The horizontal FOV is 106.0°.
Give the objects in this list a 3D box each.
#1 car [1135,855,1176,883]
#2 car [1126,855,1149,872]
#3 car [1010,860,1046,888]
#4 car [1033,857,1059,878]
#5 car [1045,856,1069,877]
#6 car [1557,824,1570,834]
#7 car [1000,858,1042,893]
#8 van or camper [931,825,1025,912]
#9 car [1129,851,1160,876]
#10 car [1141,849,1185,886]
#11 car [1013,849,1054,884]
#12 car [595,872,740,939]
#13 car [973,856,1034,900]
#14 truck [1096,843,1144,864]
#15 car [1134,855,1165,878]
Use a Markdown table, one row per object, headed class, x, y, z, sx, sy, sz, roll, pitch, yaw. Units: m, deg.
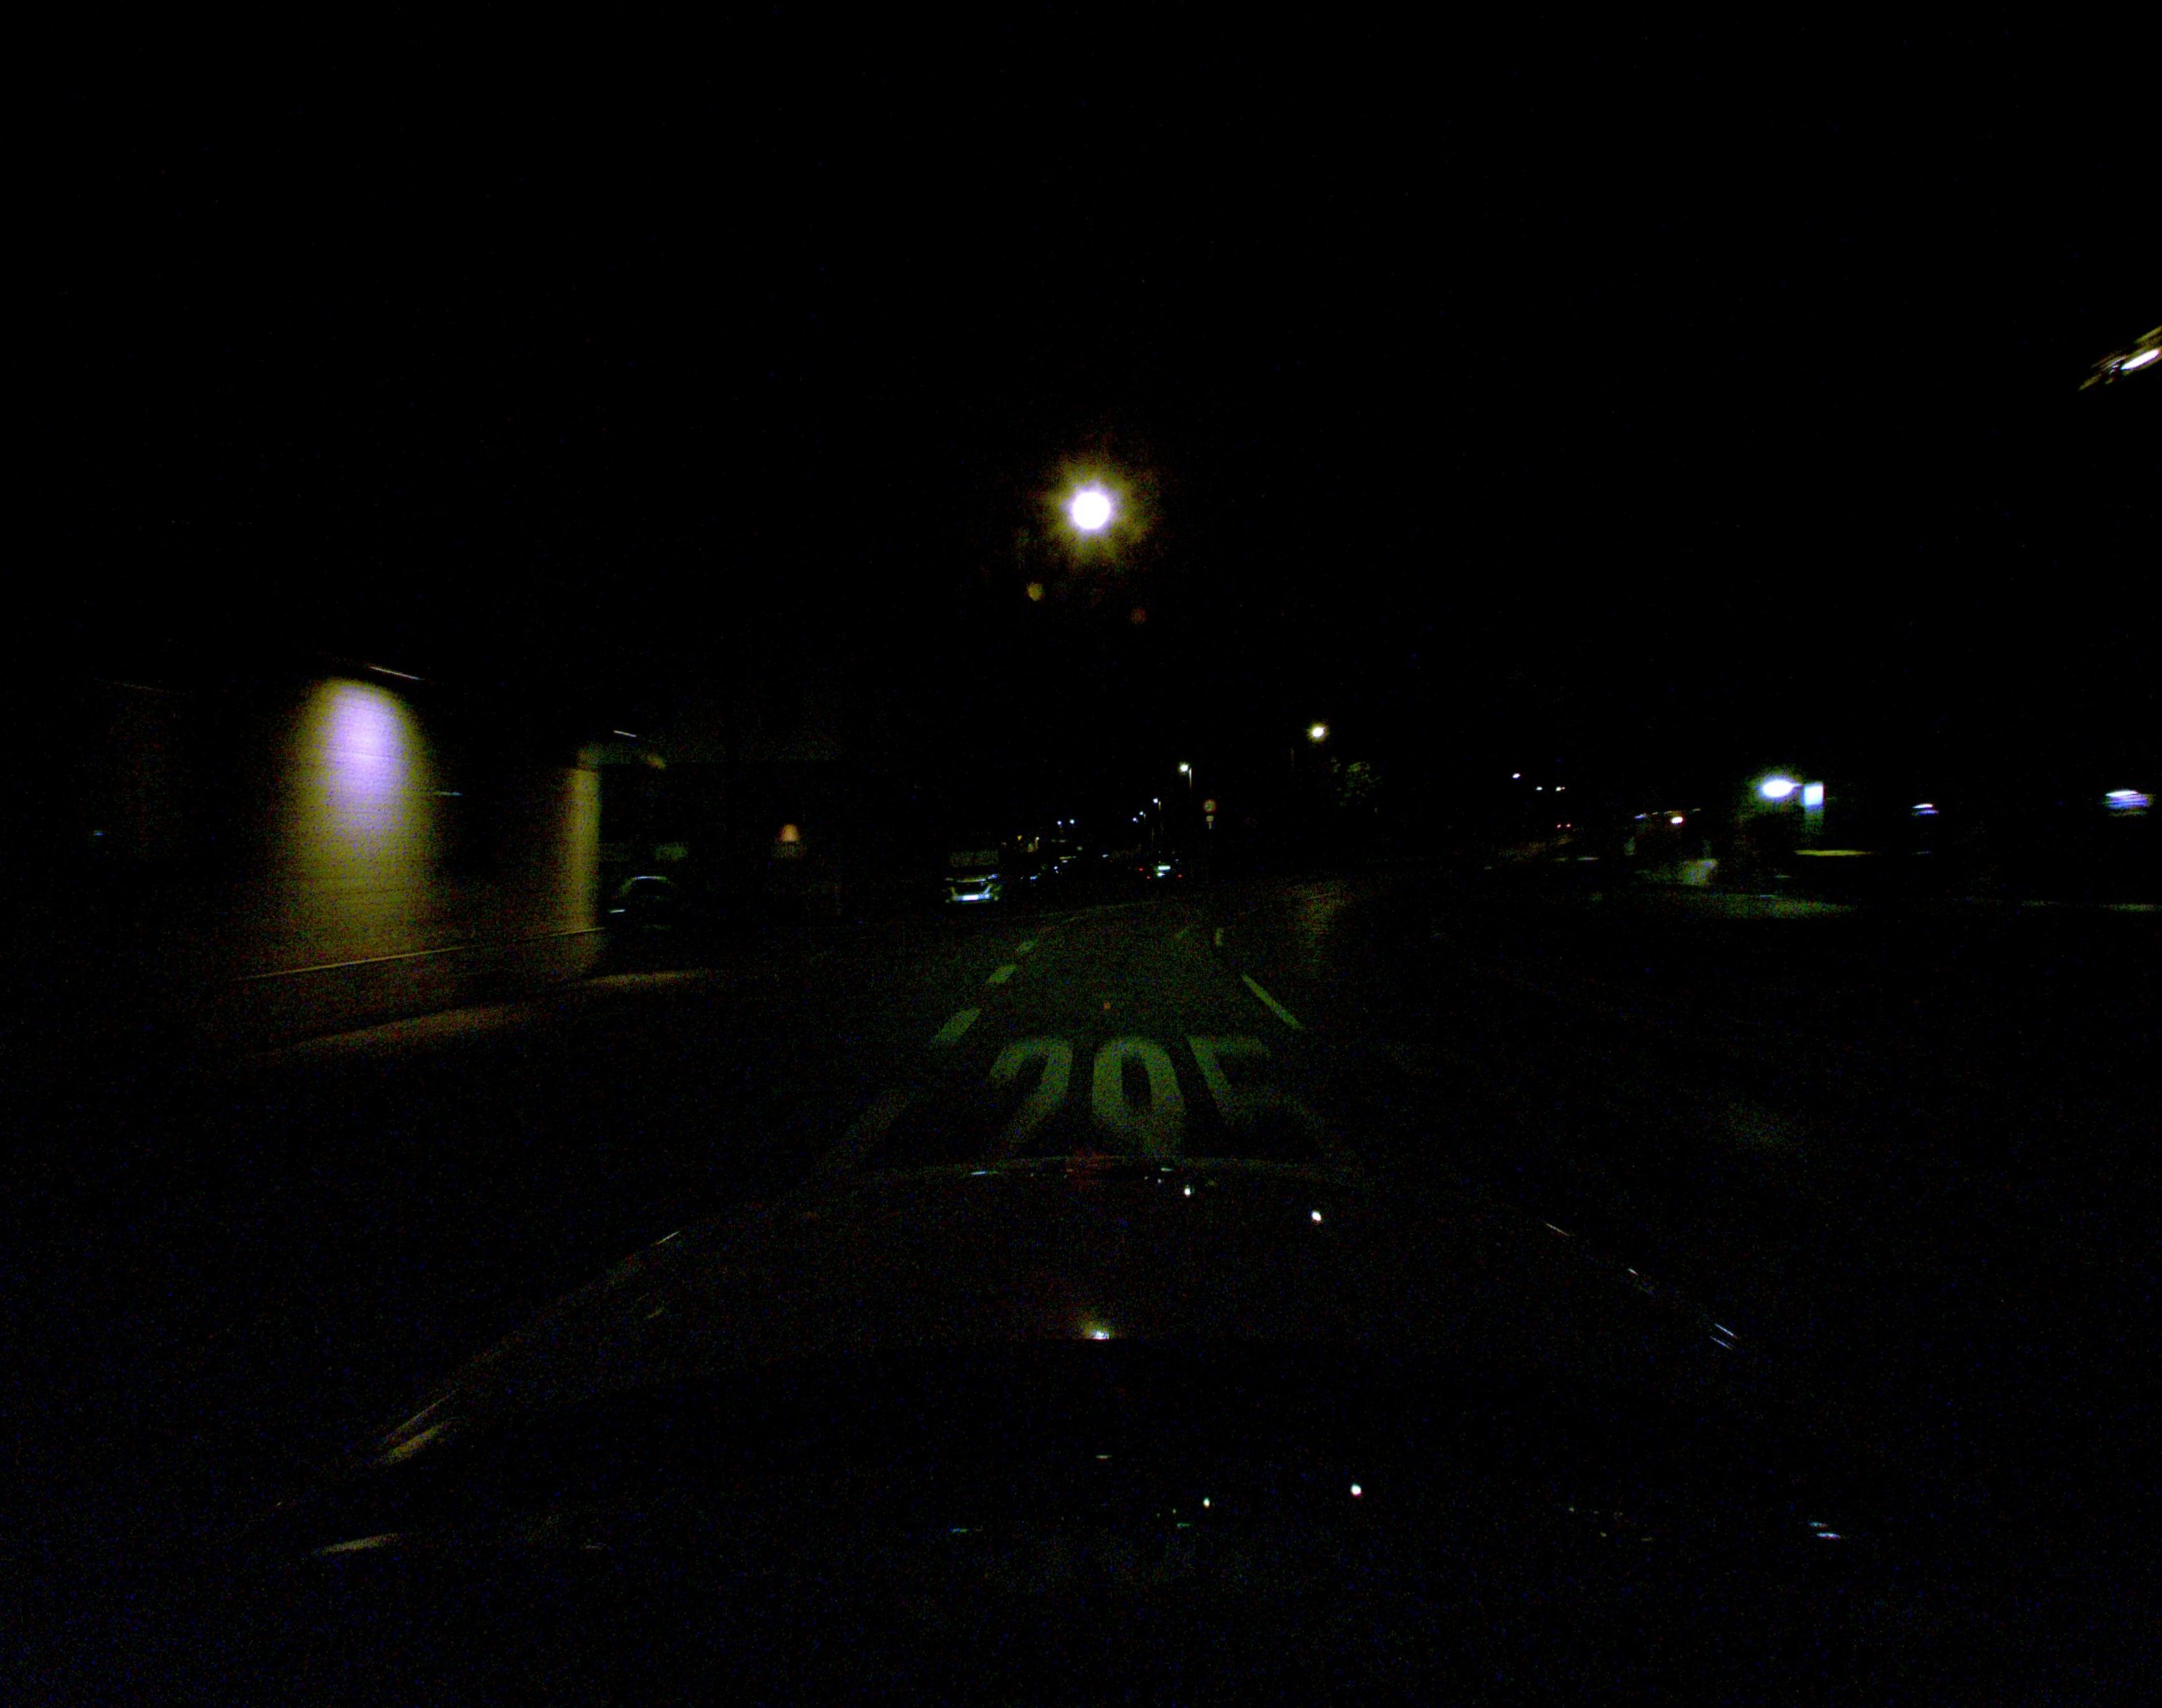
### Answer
| class | x | y | z | sx | sy | sz | roll | pitch | yaw |
| --- | --- | --- | --- | --- | --- | --- | --- | --- | --- |
| car | 3.953 | 0.795 | 43.802 | 1.956 | 1.383 | 4.002 | -2 | -1 | 2 |
| car | 5.042 | 0.855 | 72.822 | 1.752 | 1.445 | 4.026 | -2 | 0 | 1 |
| car | -2.819 | 1.069 | 44.114 | 1.686 | 1.398 | 4.077 | -2 | 0 | -1 |
| car | -2.601 | 0.982 | 61.602 | 1.699 | 1.510 | 4.100 | -1 | -1 | 1 |
| car | -1.962 | 1.035 | 67.346 | 1.671 | 1.566 | 4.106 | -2 | -1 | 2 |
| car | 95.950 | -4.880 | 162.054 | 1.906 | 1.854 | 4.026 | -2 | -1 | 34 |
| car | -2.902 | 0.981 | 39.180 | 1.835 | 1.507 | 4.733 | -2 | 0 | -5 |
| van or camper | -3.380 | 0.459 | 28.215 | 2.150 | 2.535 | 6.228 | -4 | 0 | 1 |
| car | 4.759 | 0.716 | 61.623 | 2.032 | 1.694 | 4.884 | -4 | -1 | 2 |
| car | 3.831 | 0.617 | 38.509 | 1.876 | 1.603 | 4.111 | -3 | -1 | 4 |
| car | -2.792 | 0.726 | 49.272 | 1.986 | 1.955 | 4.807 | -2 | 0 | 2 |
| car | -10.278 | 1.263 | 20.371 | 2.799 | 1.513 | 1.490 | -2 | -1 | 1 |
| car | -3.129 | 0.927 | 33.754 | 1.885 | 1.591 | 4.375 | -3 | 0 | 2 |
| truck | 5.525 | -0.086 | 116.057 | 6.757 | 2.844 | 1.999 | -1 | 0 | -2 |
| car | 4.679 | 0.807 | 56.050 | 1.873 | 1.415 | 4.476 | -4 | 0 | 3 |
